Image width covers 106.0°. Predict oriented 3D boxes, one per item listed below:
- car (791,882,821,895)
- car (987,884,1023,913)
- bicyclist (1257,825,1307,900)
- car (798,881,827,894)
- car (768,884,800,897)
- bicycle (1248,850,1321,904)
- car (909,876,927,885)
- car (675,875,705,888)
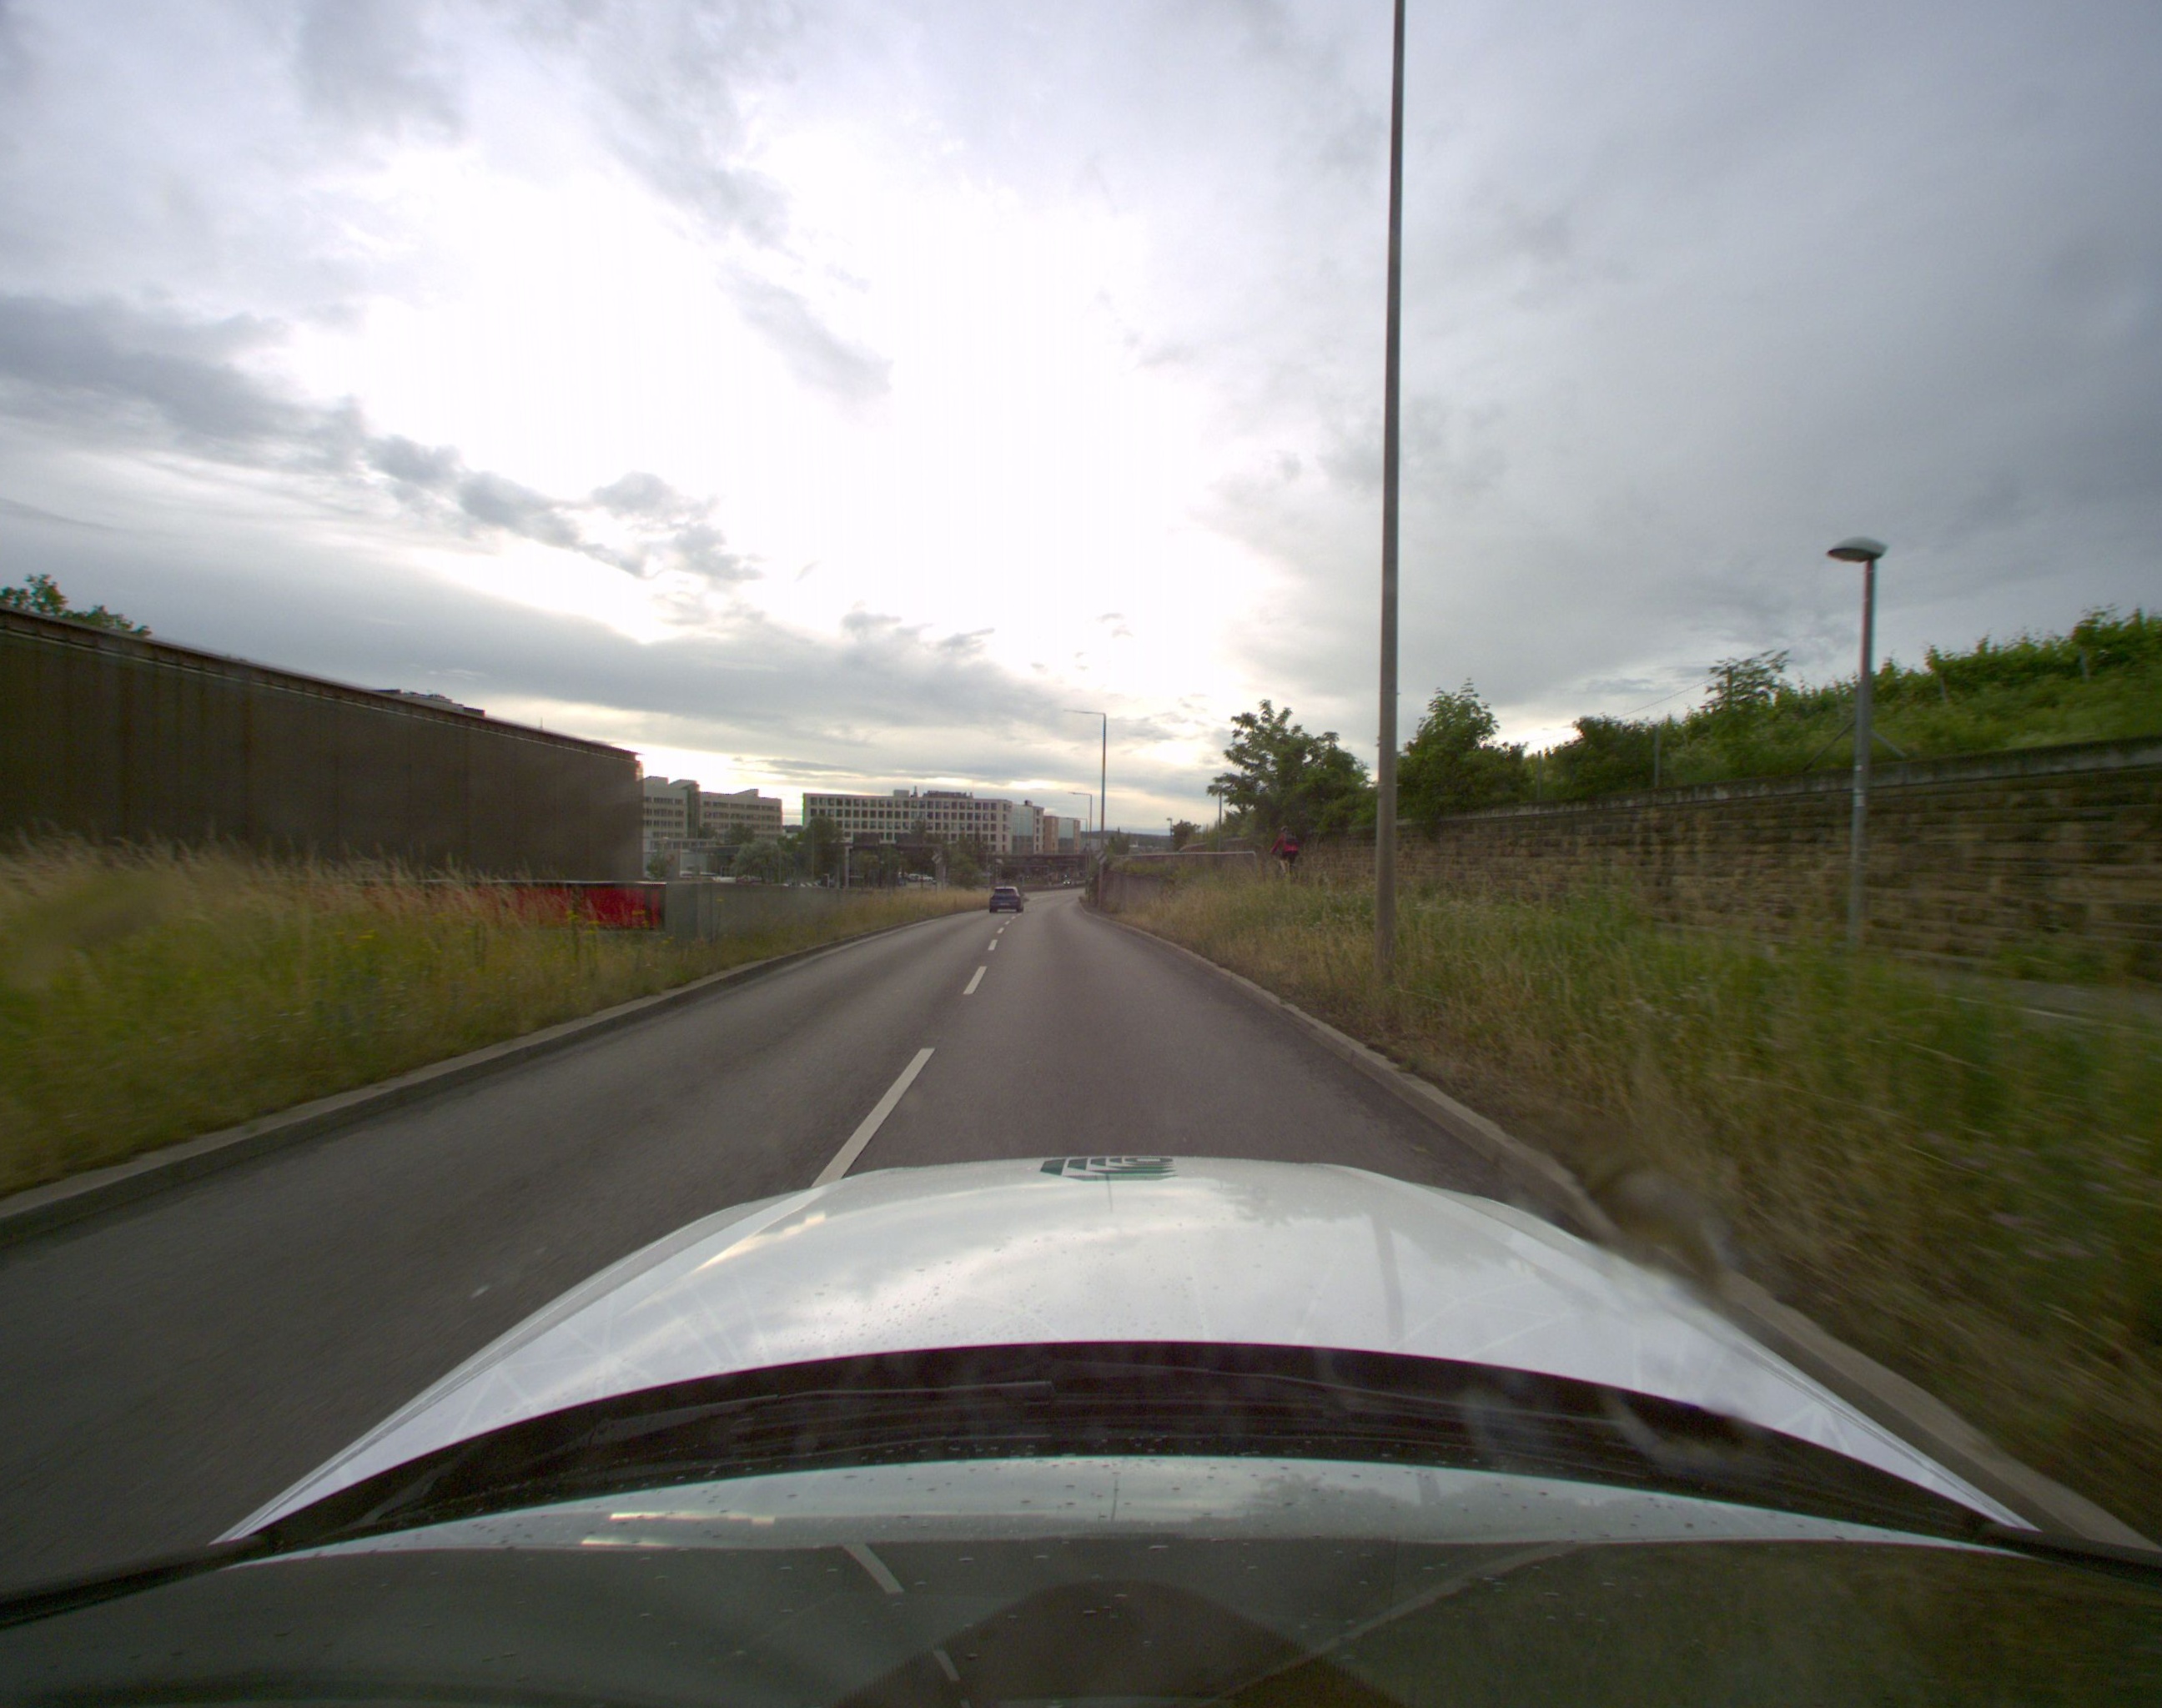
[{"bbox_3d":[-43.851,5.473,129.855,3.965,1.683,1.928,3,1,8],"label":"car"},{"bbox_3d":[-4.289,2.517,46.384,1.744,1.420,3.476,0,0,-1],"label":"car"},{"bbox_3d":[5.408,0.219,21.963,0.867,1.908,1.292,3,0,-4],"label":"bicyclist"},{"bbox_3d":[-43.502,5.405,132.051,3.965,1.683,1.928,3,1,8],"label":"car"},{"bbox_3d":[-44.718,5.465,122.661,3.965,1.683,1.928,3,1,8],"label":"car"},{"bbox_3d":[5.415,0.555,21.974,0.867,1.288,3.482,3,0,-4],"label":"bicycle"},{"bbox_3d":[-42.364,6.840,211.311,3.960,1.876,2.007,3,1,12],"label":"car"},{"bbox_3d":[-59.737,4.251,124.525,1.904,1.683,4.014,3,1,13],"label":"car"}]
